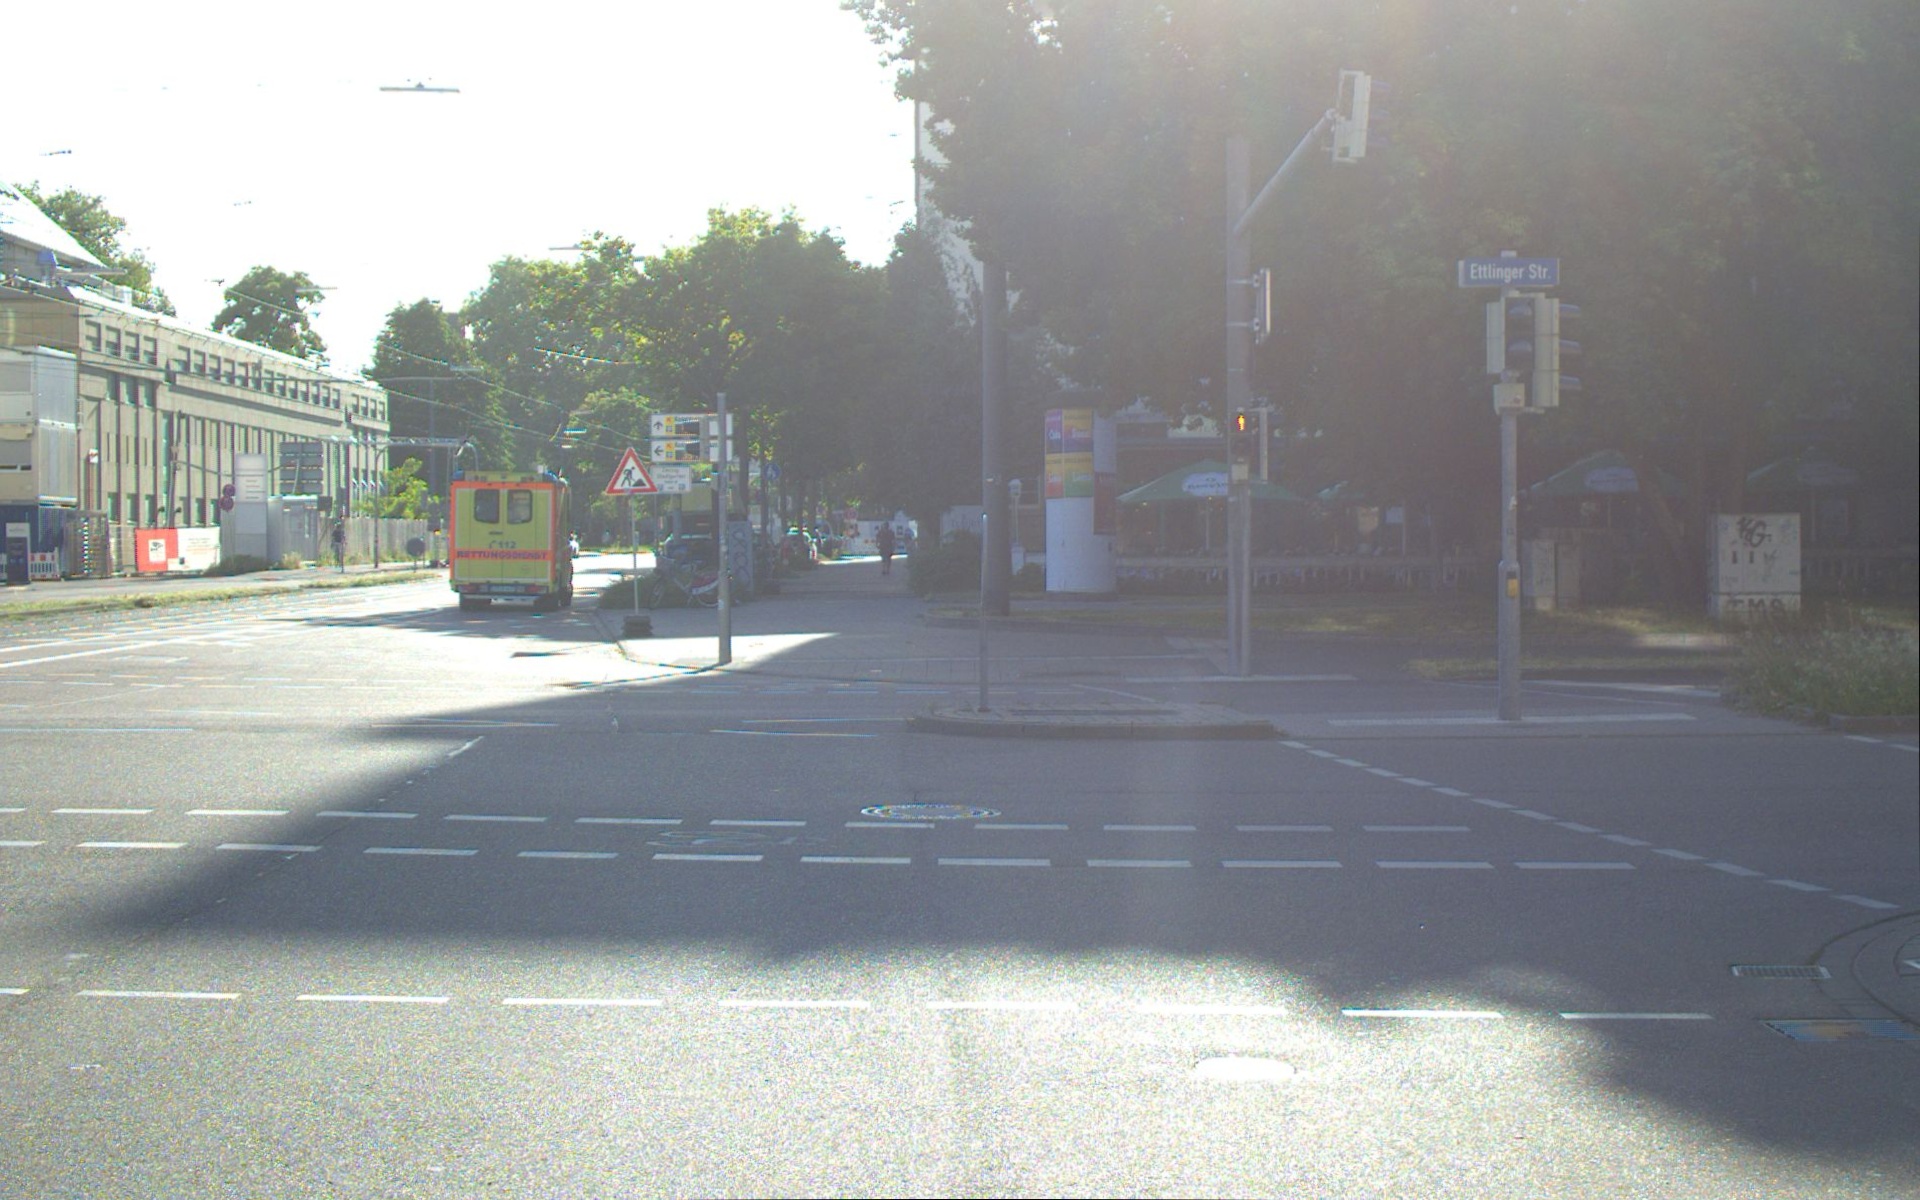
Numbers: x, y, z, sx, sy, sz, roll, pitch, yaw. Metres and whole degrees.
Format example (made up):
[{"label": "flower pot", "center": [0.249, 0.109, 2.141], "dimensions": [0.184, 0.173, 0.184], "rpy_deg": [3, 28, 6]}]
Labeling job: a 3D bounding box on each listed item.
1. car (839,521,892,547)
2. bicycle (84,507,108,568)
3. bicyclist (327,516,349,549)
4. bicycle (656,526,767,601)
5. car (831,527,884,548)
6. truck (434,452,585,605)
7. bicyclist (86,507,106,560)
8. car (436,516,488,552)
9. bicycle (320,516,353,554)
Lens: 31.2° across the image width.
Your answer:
[{"label": "car", "center": [-5.880, -4.086, 213.444], "dimensions": [3.214, 1.583, 1.446], "rpy_deg": [1, 0, -4]}, {"label": "bicycle", "center": [-32.731, -2.376, 130.256], "dimensions": [0.571, 2.288, 1.422], "rpy_deg": [0, 1, -2]}, {"label": "bicyclist", "center": [-25.414, -2.747, 140.500], "dimensions": [0.689, 1.323, 1.000], "rpy_deg": [1, 0, 2]}, {"label": "bicycle", "center": [-5.869, -0.865, 81.368], "dimensions": [2.547, 1.737, 1.037], "rpy_deg": [1, 0, 0]}, {"label": "car", "center": [-6.277, -3.854, 211.143], "dimensions": [3.217, 1.259, 1.373], "rpy_deg": [1, 0, -1]}, {"label": "truck", "center": [-9.222, -1.461, 70.949], "dimensions": [2.716, 3.005, 6.490], "rpy_deg": [0, 1, -4]}, {"label": "bicyclist", "center": [-32.731, -2.523, 130.218], "dimensions": [0.571, 2.017, 0.762], "rpy_deg": [0, 1, -2]}, {"label": "car", "center": [-22.600, -2.991, 156.083], "dimensions": [1.894, 1.601, 4.501], "rpy_deg": [-1, 1, -2]}, {"label": "bicycle", "center": [-25.463, -2.633, 140.431], "dimensions": [0.689, 1.506, 2.944], "rpy_deg": [1, 1, 2]}]
